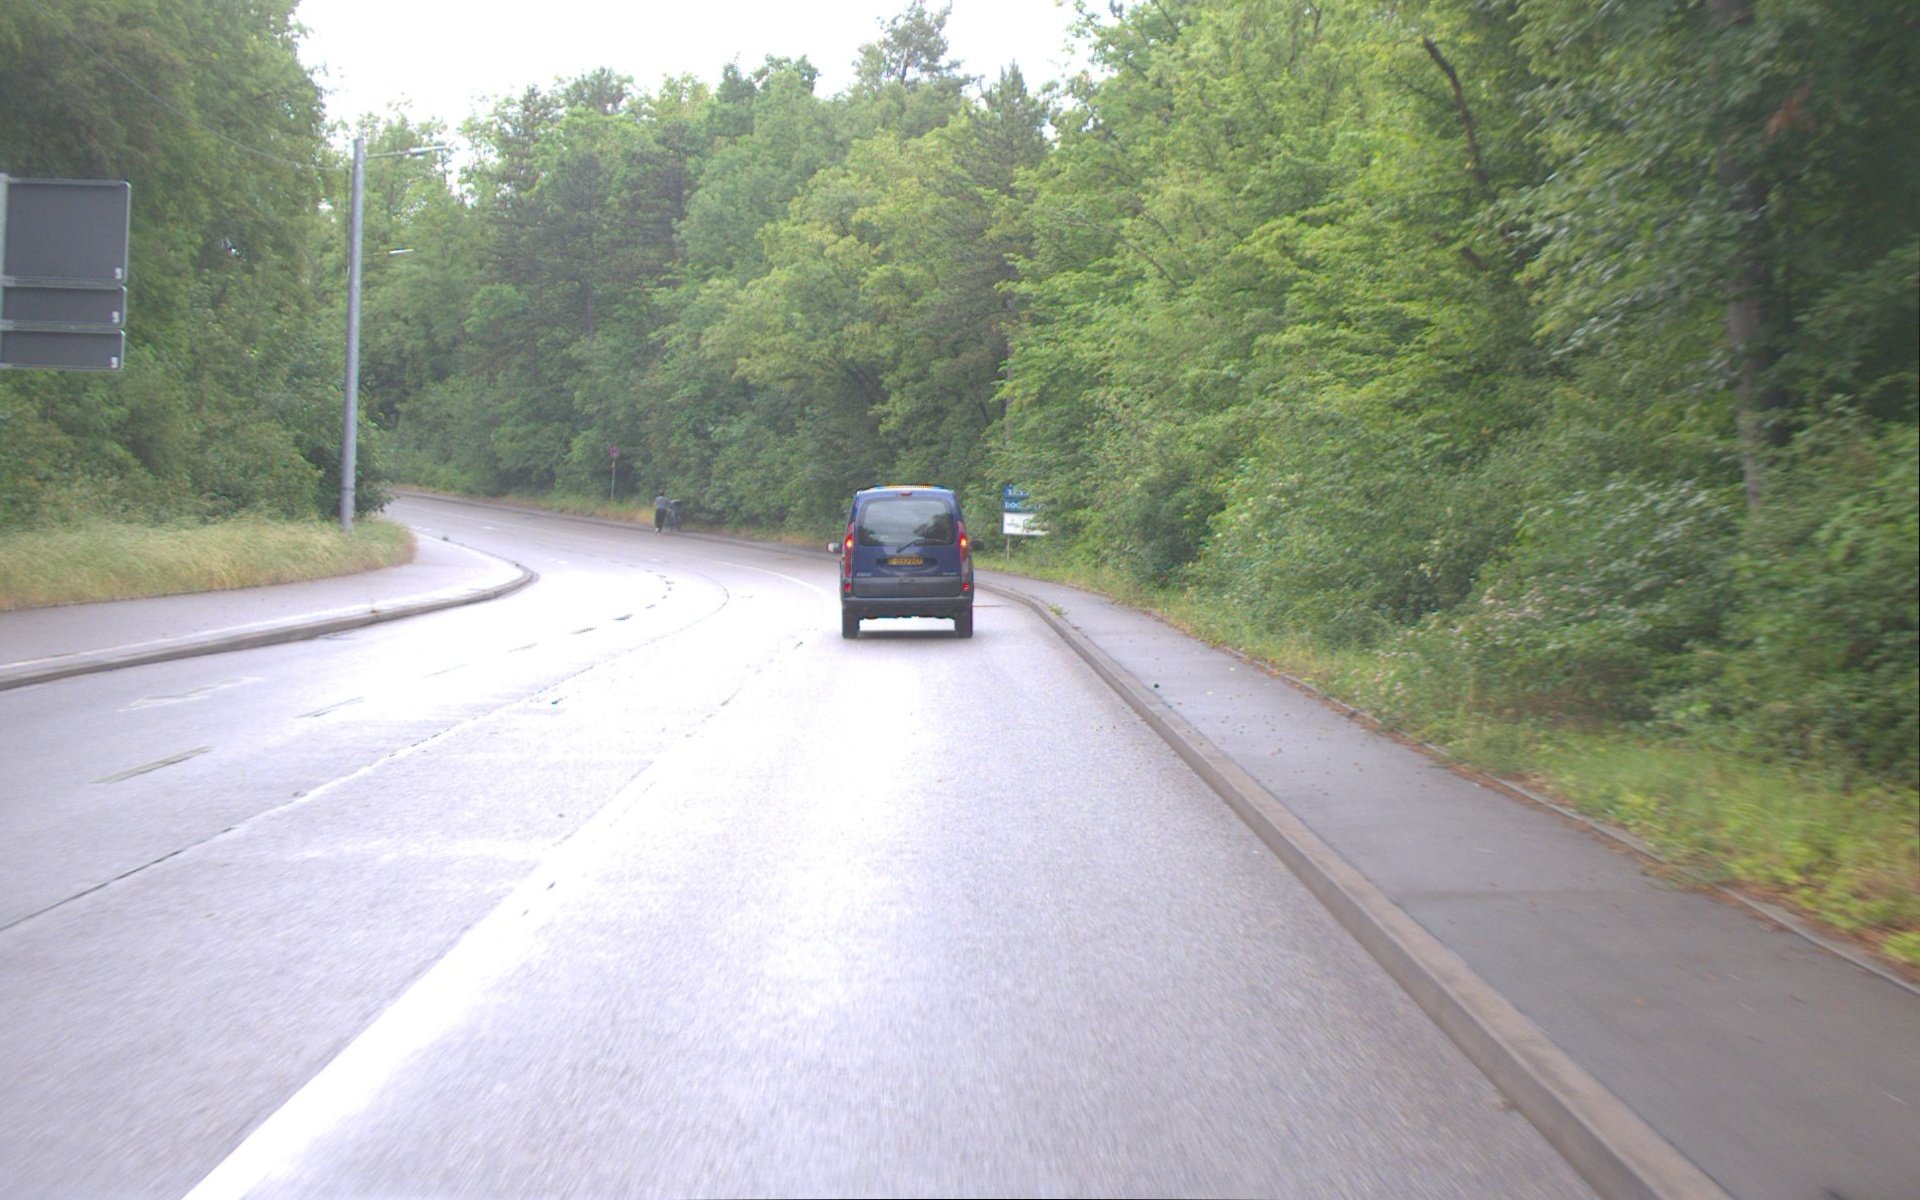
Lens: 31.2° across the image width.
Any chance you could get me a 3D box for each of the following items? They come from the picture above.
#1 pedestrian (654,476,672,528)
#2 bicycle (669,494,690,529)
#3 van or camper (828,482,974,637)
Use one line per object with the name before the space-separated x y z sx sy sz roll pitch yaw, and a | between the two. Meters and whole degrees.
pedestrian | -10.718 -3.527 124.067 0.490 1.863 0.680 1 1 -14
bicycle | -10.123 -3.178 123.922 0.488 1.241 1.748 1 2 -13
van or camper | -0.751 -0.506 43.269 1.712 1.819 4.000 1 1 -1
